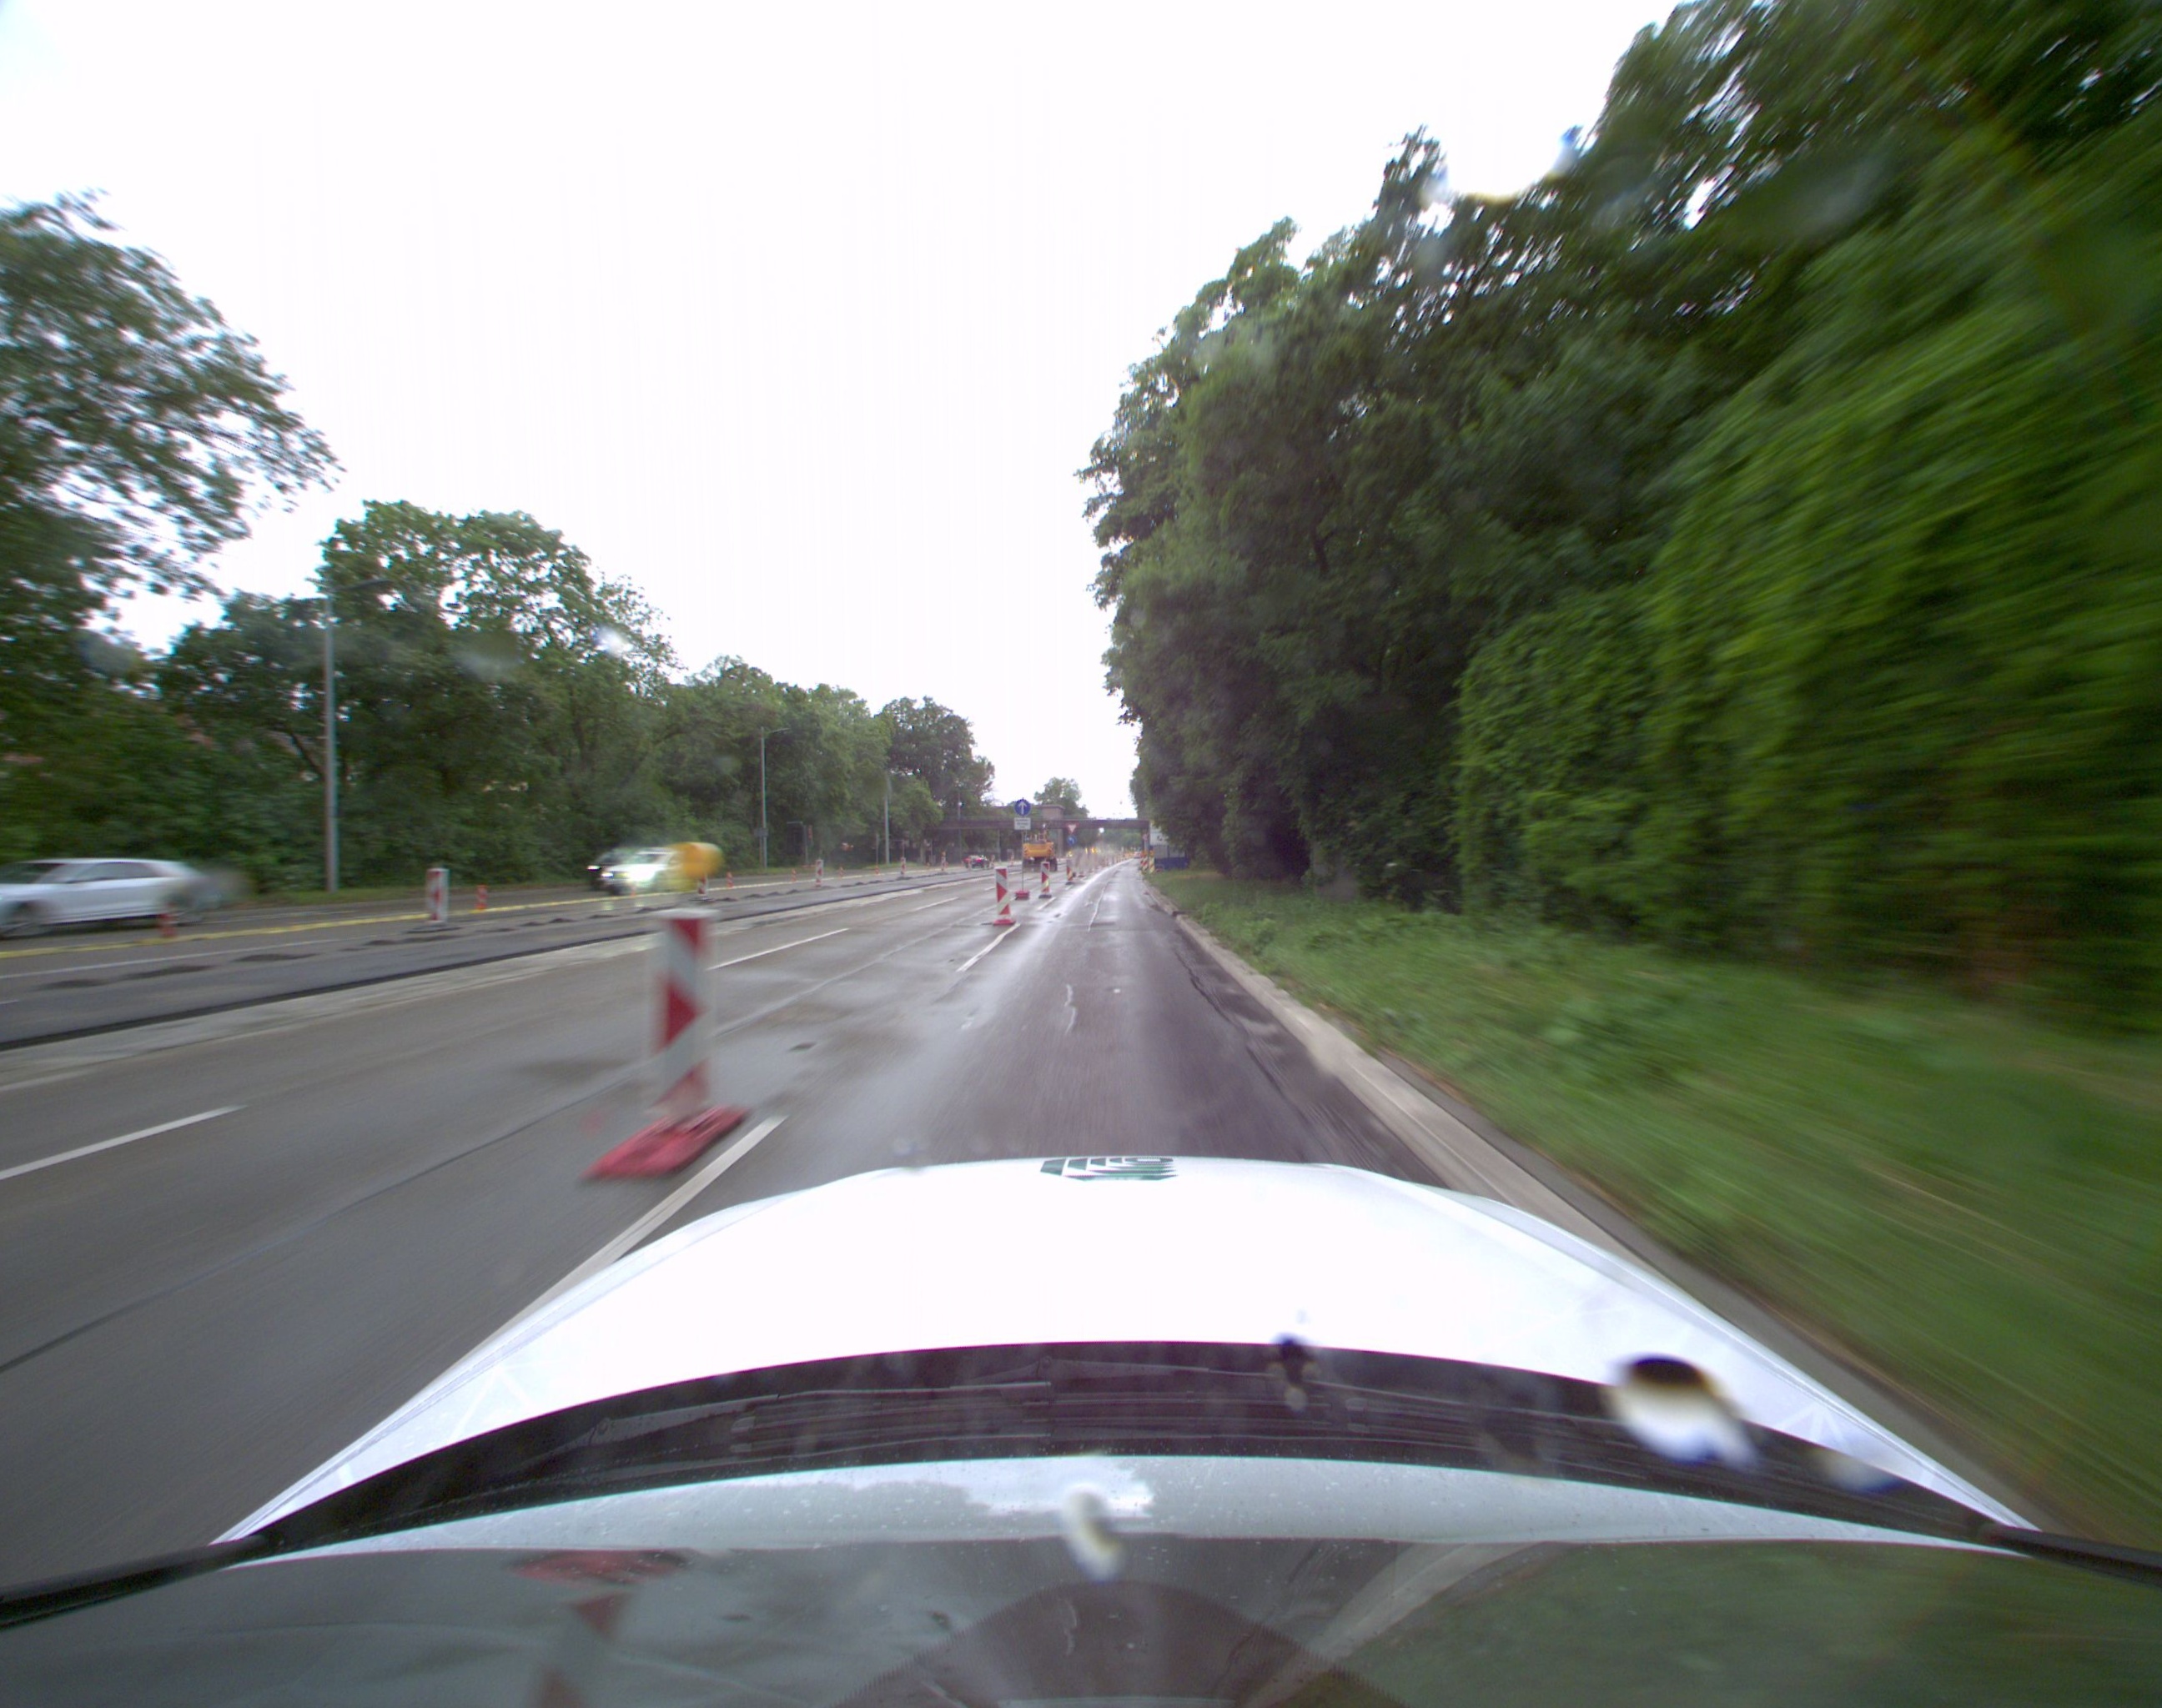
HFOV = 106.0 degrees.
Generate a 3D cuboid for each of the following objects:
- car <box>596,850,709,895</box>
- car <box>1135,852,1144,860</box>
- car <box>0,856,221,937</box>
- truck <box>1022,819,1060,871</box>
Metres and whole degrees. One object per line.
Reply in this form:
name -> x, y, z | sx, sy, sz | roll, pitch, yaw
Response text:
car -> -17.143, 0.694, 32.907 | 1.883, 1.661, 4.895 | 0, 0, 1
car -> 13.122, 0.480, 182.199 | 1.984, 1.640, 4.005 | -2, 0, 4
car -> -20.694, 0.832, 16.658 | 1.673, 1.496, 4.150 | -3, 0, 2
truck -> -3.479, -0.765, 72.719 | 2.888, 4.259, 10.753 | 0, 0, 0
